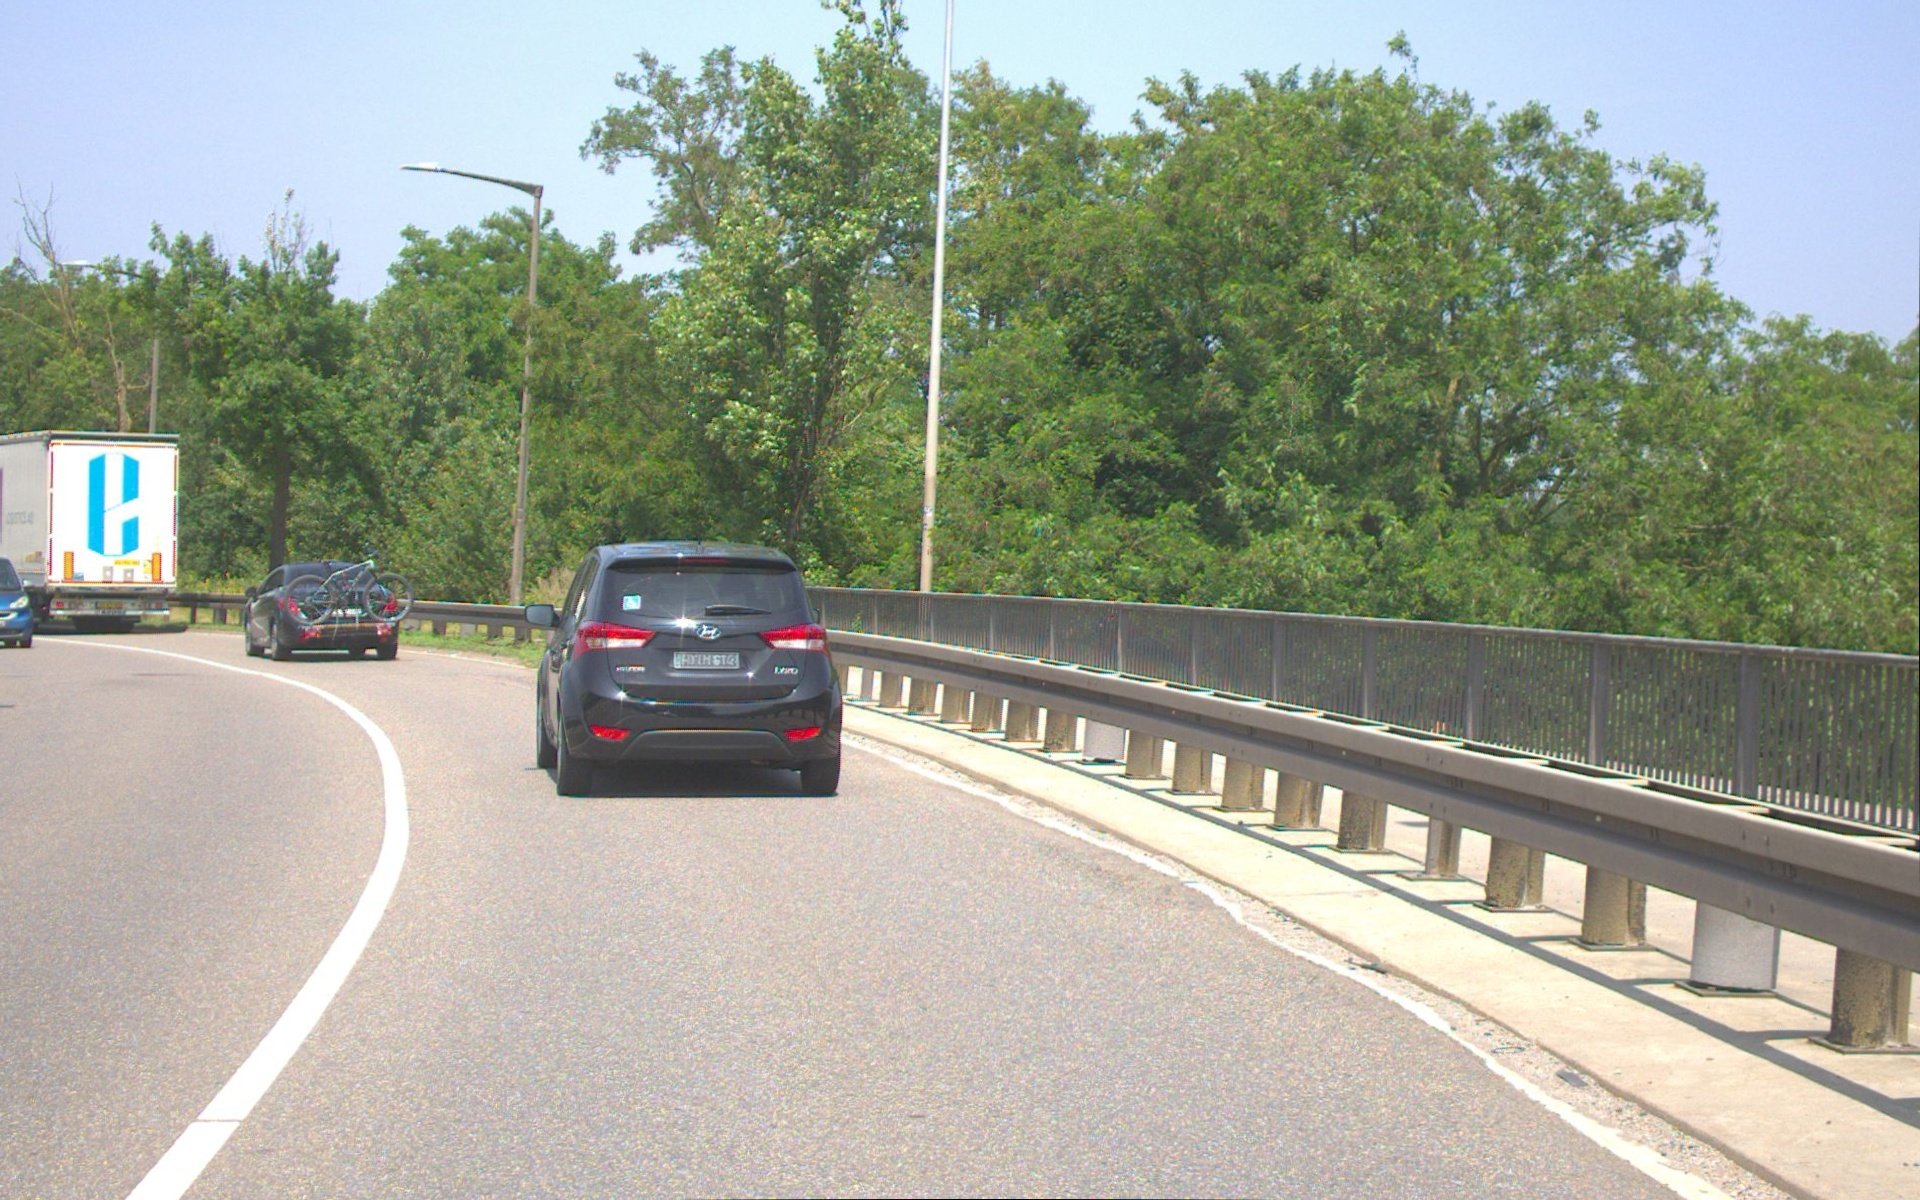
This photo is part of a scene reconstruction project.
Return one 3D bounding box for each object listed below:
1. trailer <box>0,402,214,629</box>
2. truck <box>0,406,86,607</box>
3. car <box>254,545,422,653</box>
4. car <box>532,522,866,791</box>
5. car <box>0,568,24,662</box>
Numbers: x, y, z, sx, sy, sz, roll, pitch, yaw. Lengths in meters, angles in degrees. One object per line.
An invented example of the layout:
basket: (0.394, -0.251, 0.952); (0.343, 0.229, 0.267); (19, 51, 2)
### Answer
trailer: (-19.024, -1.809, 72.074); (3.569, 4.369, 11.443); (0, 2, -28)
truck: (-22.702, -2.169, 78.860); (3.572, 4.425, 6.516); (0, 2, -29)
car: (-9.000, -0.038, 49.544); (2.011, 1.424, 3.778); (0, 2, -16)
car: (-1.802, 0.301, 22.576); (1.921, 1.568, 3.893); (1, 2, -8)
car: (-16.561, 0.231, 57.370); (1.596, 1.481, 2.749); (0, 2, -20)
